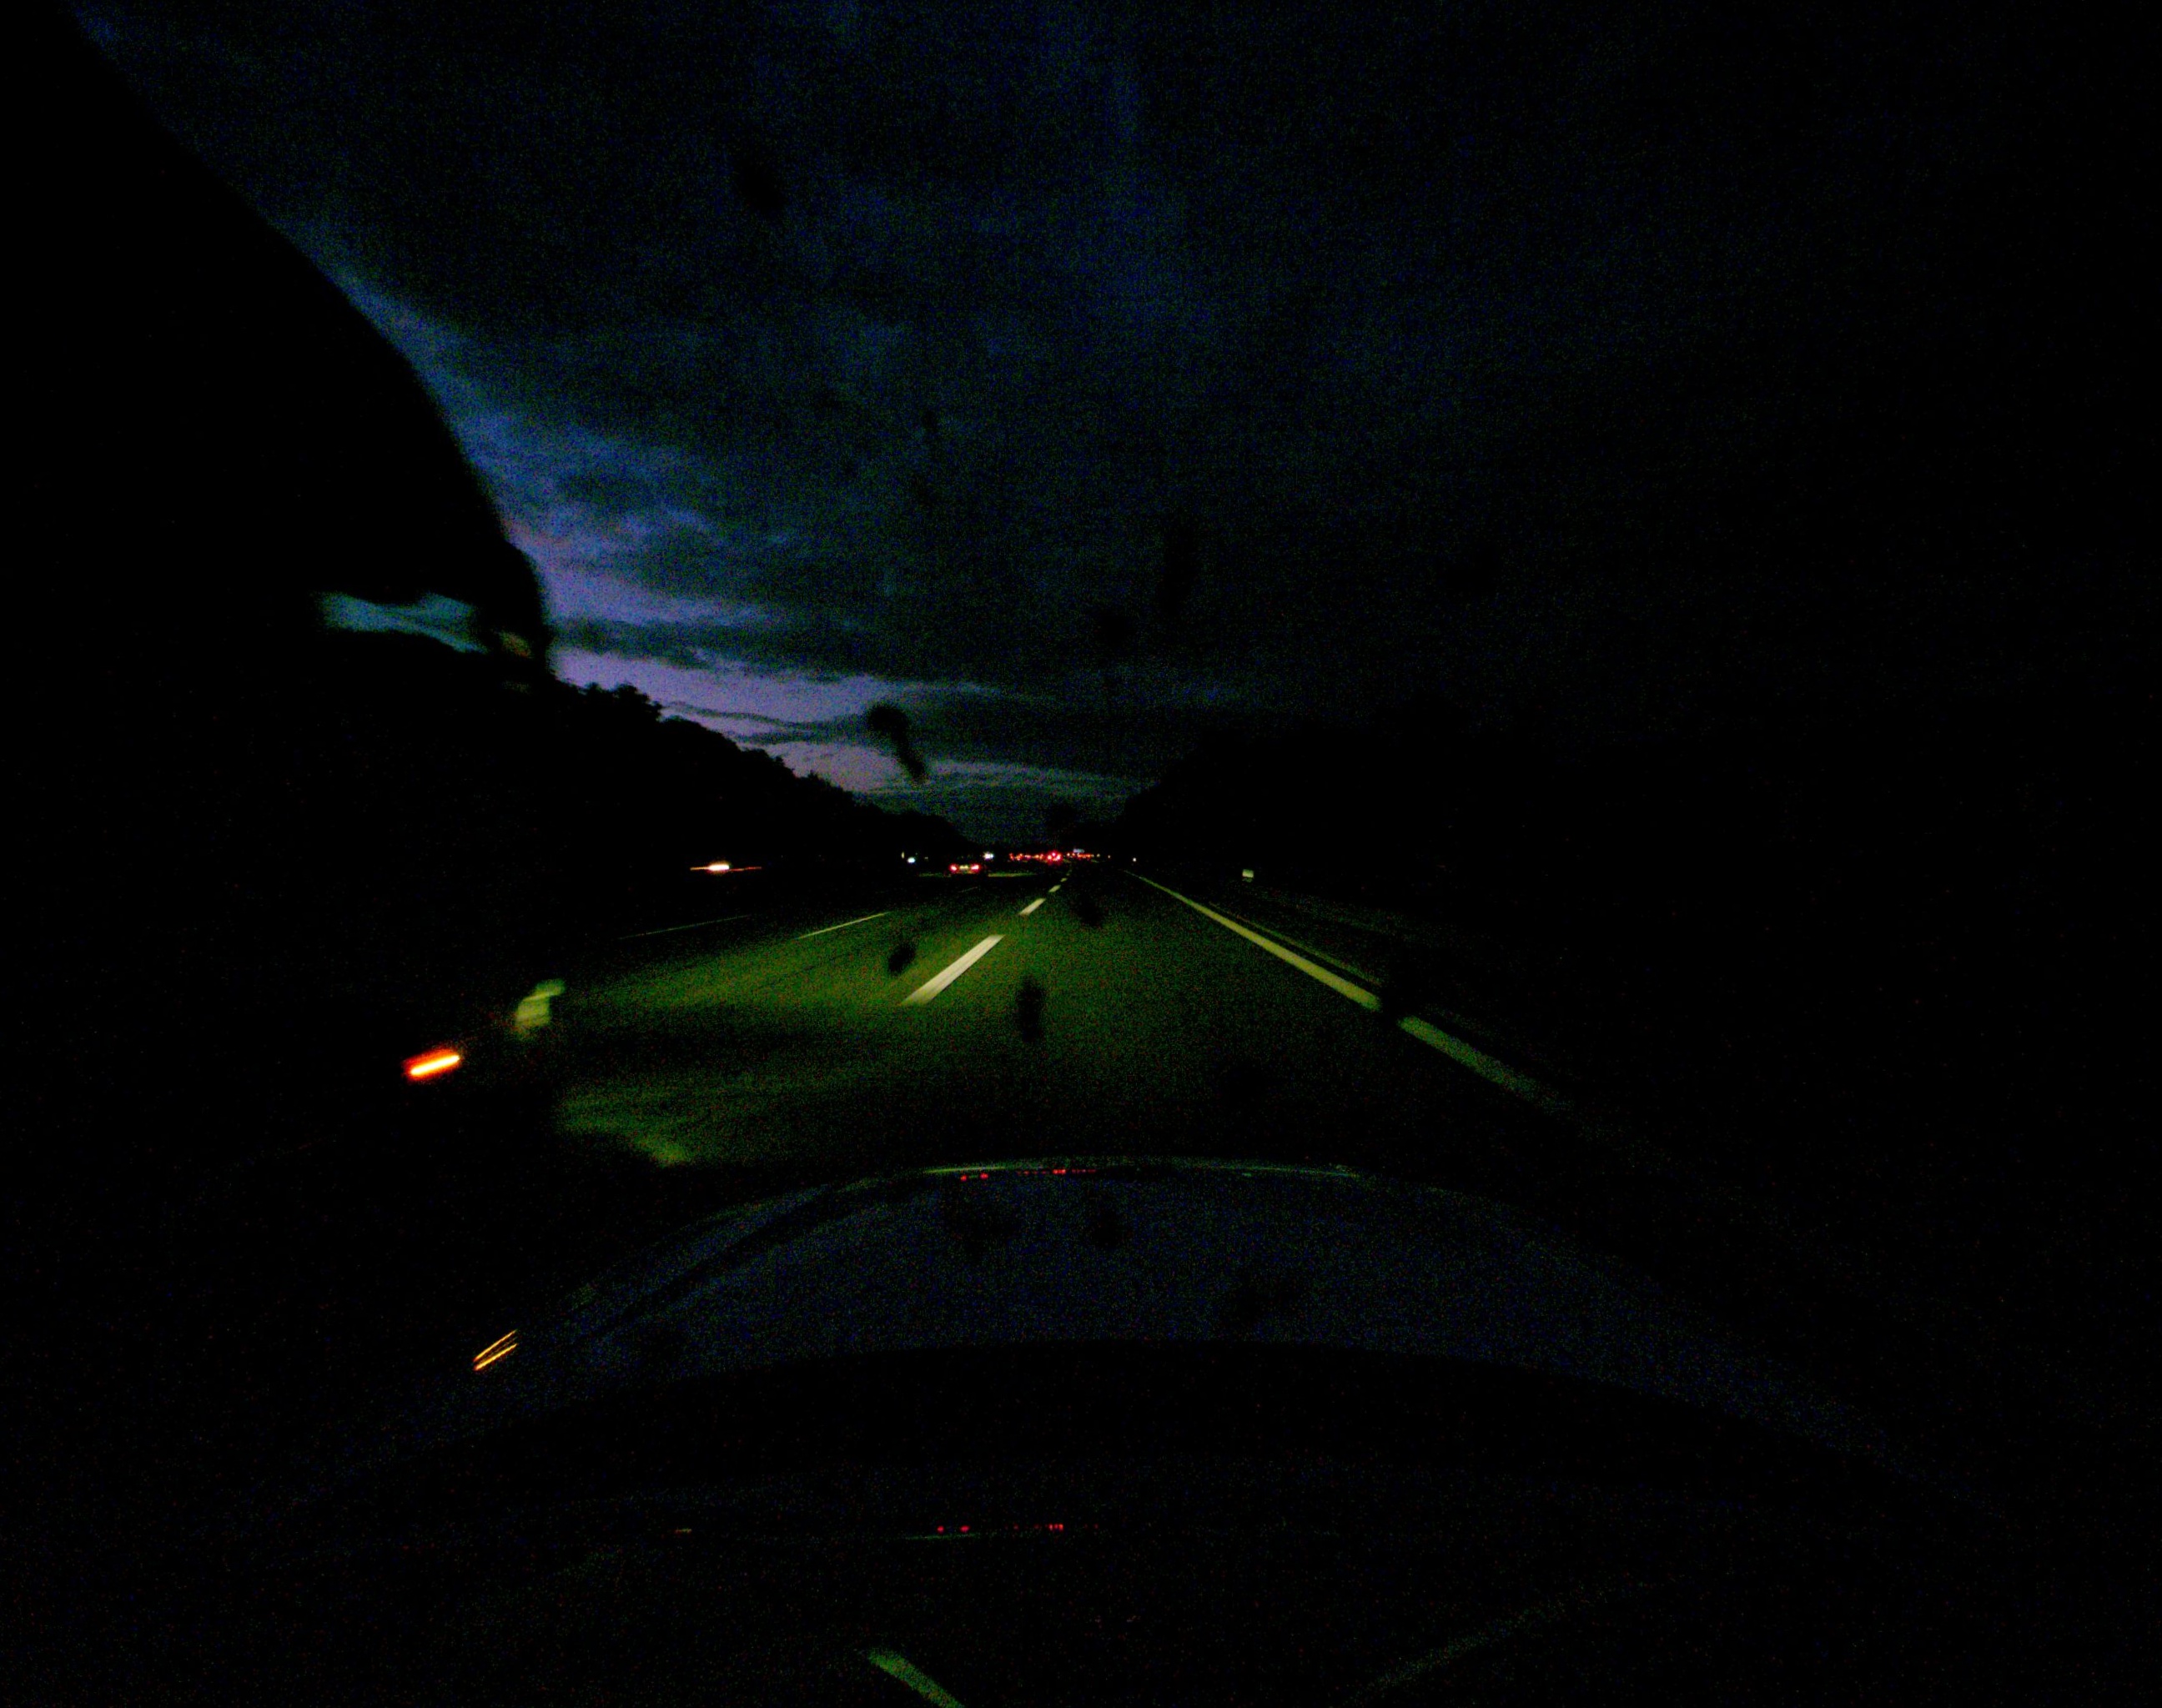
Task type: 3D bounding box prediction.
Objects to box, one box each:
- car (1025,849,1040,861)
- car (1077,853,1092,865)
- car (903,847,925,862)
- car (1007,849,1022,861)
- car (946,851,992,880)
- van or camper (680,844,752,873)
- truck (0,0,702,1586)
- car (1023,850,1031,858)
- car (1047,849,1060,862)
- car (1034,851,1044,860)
[{"bbox_3d":[-7.749,0.159,131.014,2.065,2.013,3.999,-1,0,0],"label":"car"},{"bbox_3d":[0.449,0.721,115.860,1.988,1.659,4.313,-1,0,-1],"label":"car"},{"bbox_3d":[-23.063,0.088,112.880,1.986,2.014,4.496,0,0,1],"label":"car"},{"bbox_3d":[-11.470,0.172,140.753,2.096,2.013,4.003,-2,0,2],"label":"car"},{"bbox_3d":[-6.869,0.683,50.356,1.986,1.642,4.557,-1,0,2],"label":"car"},{"bbox_3d":[-26.492,0.338,59.404,2.370,2.014,6.490,0,0,-1],"label":"van or camper"},{"bbox_3d":[-3.691,-0.390,1.621,2.768,3.902,6.157,-1,0,2],"label":"truck"},{"bbox_3d":[-14.360,0.001,217.044,1.987,2.013,3.999,3,0,-1],"label":"car"},{"bbox_3d":[-4.420,0.170,129.542,1.988,2.013,3.998,0,0,-1],"label":"car"},{"bbox_3d":[-8.840,0.334,172.102,1.989,2.014,3.994,0,0,-4],"label":"car"}]
